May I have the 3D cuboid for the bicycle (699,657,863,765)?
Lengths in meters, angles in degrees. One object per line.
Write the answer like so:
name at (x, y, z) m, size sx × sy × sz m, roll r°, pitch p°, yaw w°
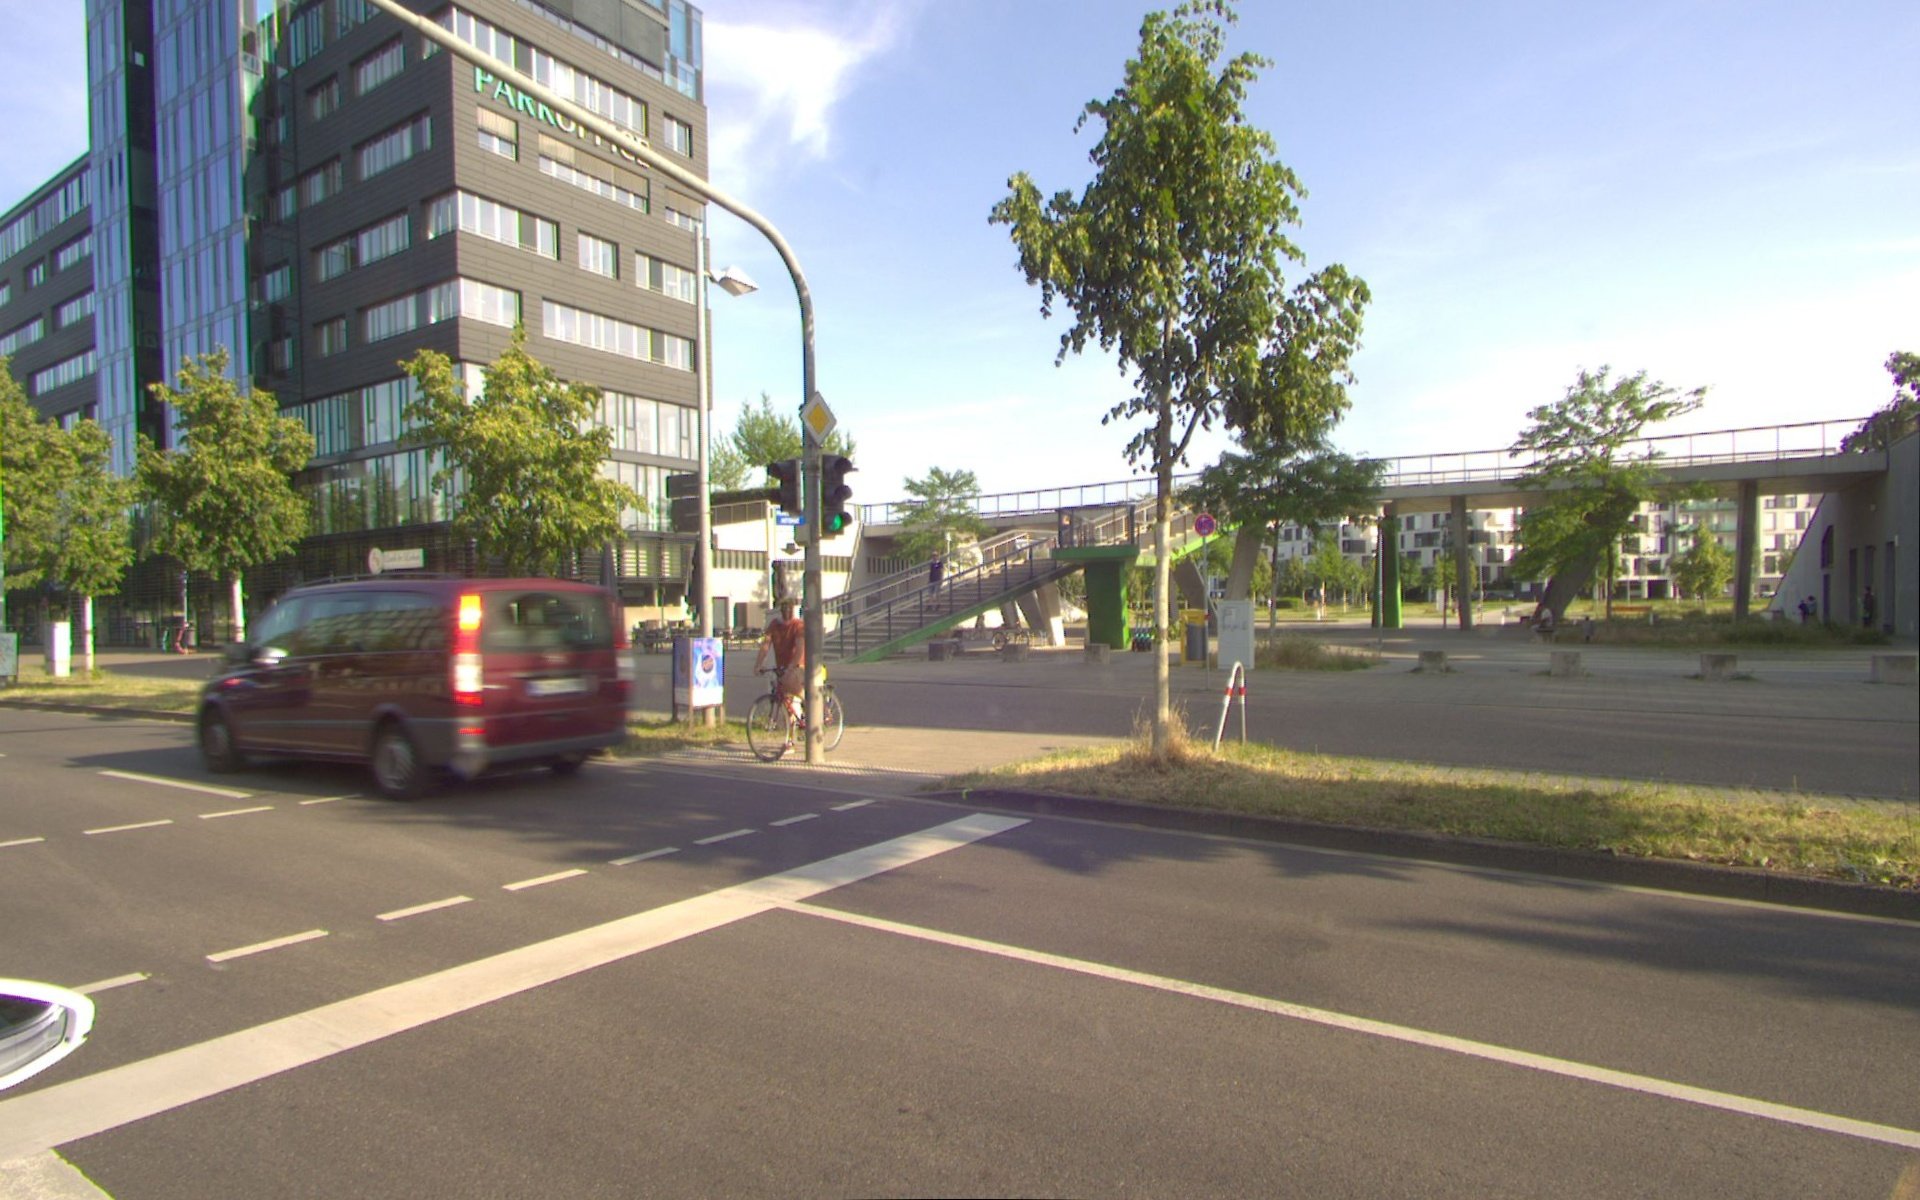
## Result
bicycle at (-1.915, 1.170, 11.077) m, size 0.563 × 1.025 × 2.132 m, roll -1°, pitch -2°, yaw 29°

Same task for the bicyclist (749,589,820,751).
bicyclist at (-1.936, 0.758, 11.052) m, size 0.533 × 1.728 × 0.574 m, roll -1°, pitch -1°, yaw 30°

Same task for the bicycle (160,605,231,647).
bicycle at (-35.002, 1.214, 45.881) m, size 0.563 × 1.881 × 2.551 m, roll -1°, pitch -2°, yaw 42°

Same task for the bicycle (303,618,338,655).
bicycle at (-24.008, 1.364, 37.588) m, size 1.868 × 1.363 × 0.372 m, roll -2°, pitch -2°, yaw 34°

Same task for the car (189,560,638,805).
car at (-5.488, 0.717, 9.851) m, size 4.752 × 1.915 × 1.796 m, roll -1°, pitch -2°, yaw 32°

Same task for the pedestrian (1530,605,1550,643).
pedestrian at (20.010, 0.832, 34.541) m, size 0.573 × 1.310 × 0.595 m, roll -1°, pitch -1°, yaw 33°

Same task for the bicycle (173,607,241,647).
bicycle at (-34.157, 1.216, 45.453) m, size 0.548 × 1.768 × 2.422 m, roll -1°, pitch -2°, yaw 42°

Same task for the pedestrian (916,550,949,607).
pedestrian at (-0.852, -0.655, 30.848) m, size 0.689 × 1.713 × 0.779 m, roll 1°, pitch -2°, yaw -44°

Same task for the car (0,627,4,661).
car at (-41.497, 1.810, 40.882) m, size 1.747 × 1.442 × 3.958 m, roll 0°, pitch -2°, yaw -12°
